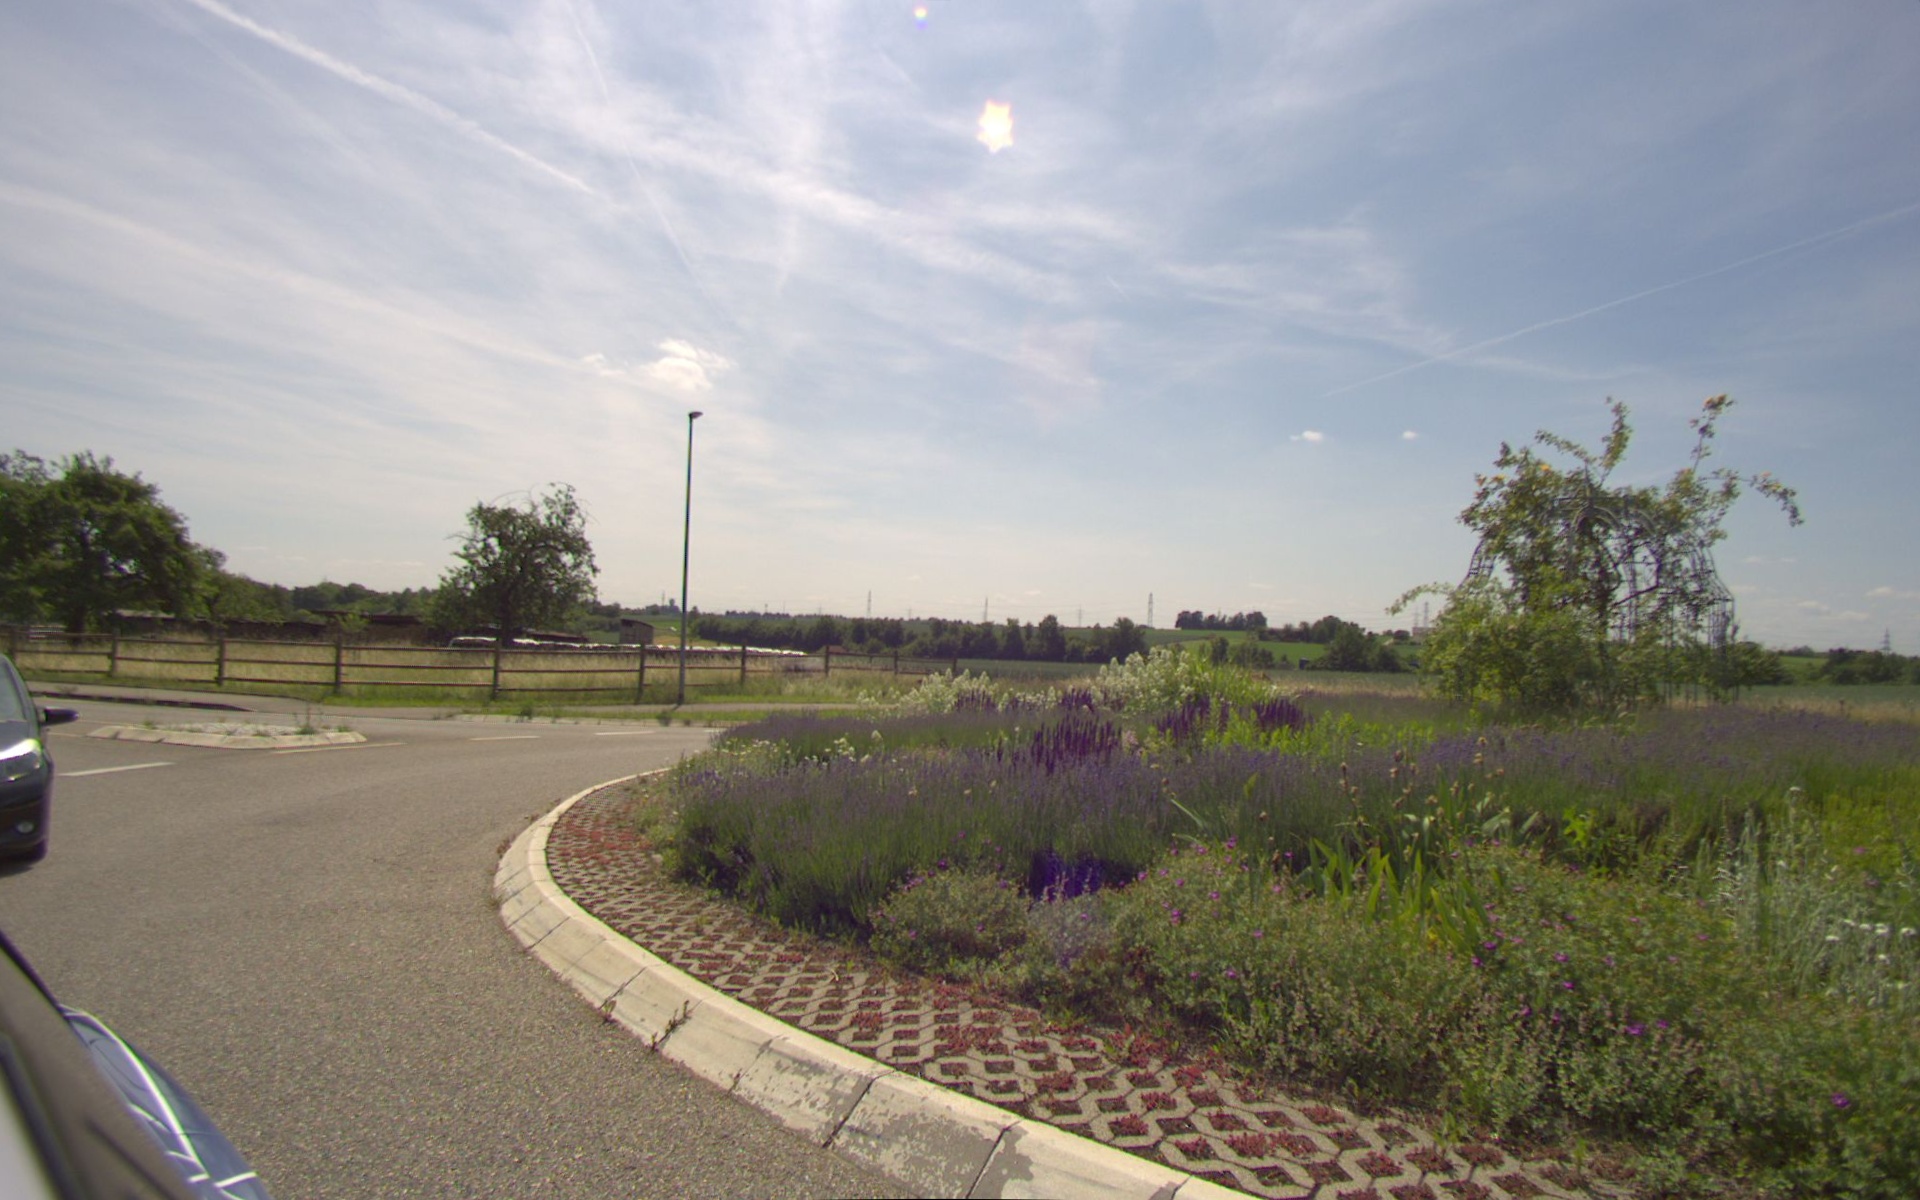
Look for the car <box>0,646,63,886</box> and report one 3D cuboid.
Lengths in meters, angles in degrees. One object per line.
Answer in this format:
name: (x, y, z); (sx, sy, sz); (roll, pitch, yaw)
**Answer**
car: (-8.121, 1.082, 7.563); (4.433, 1.476, 1.654); (-1, -5, 43)
